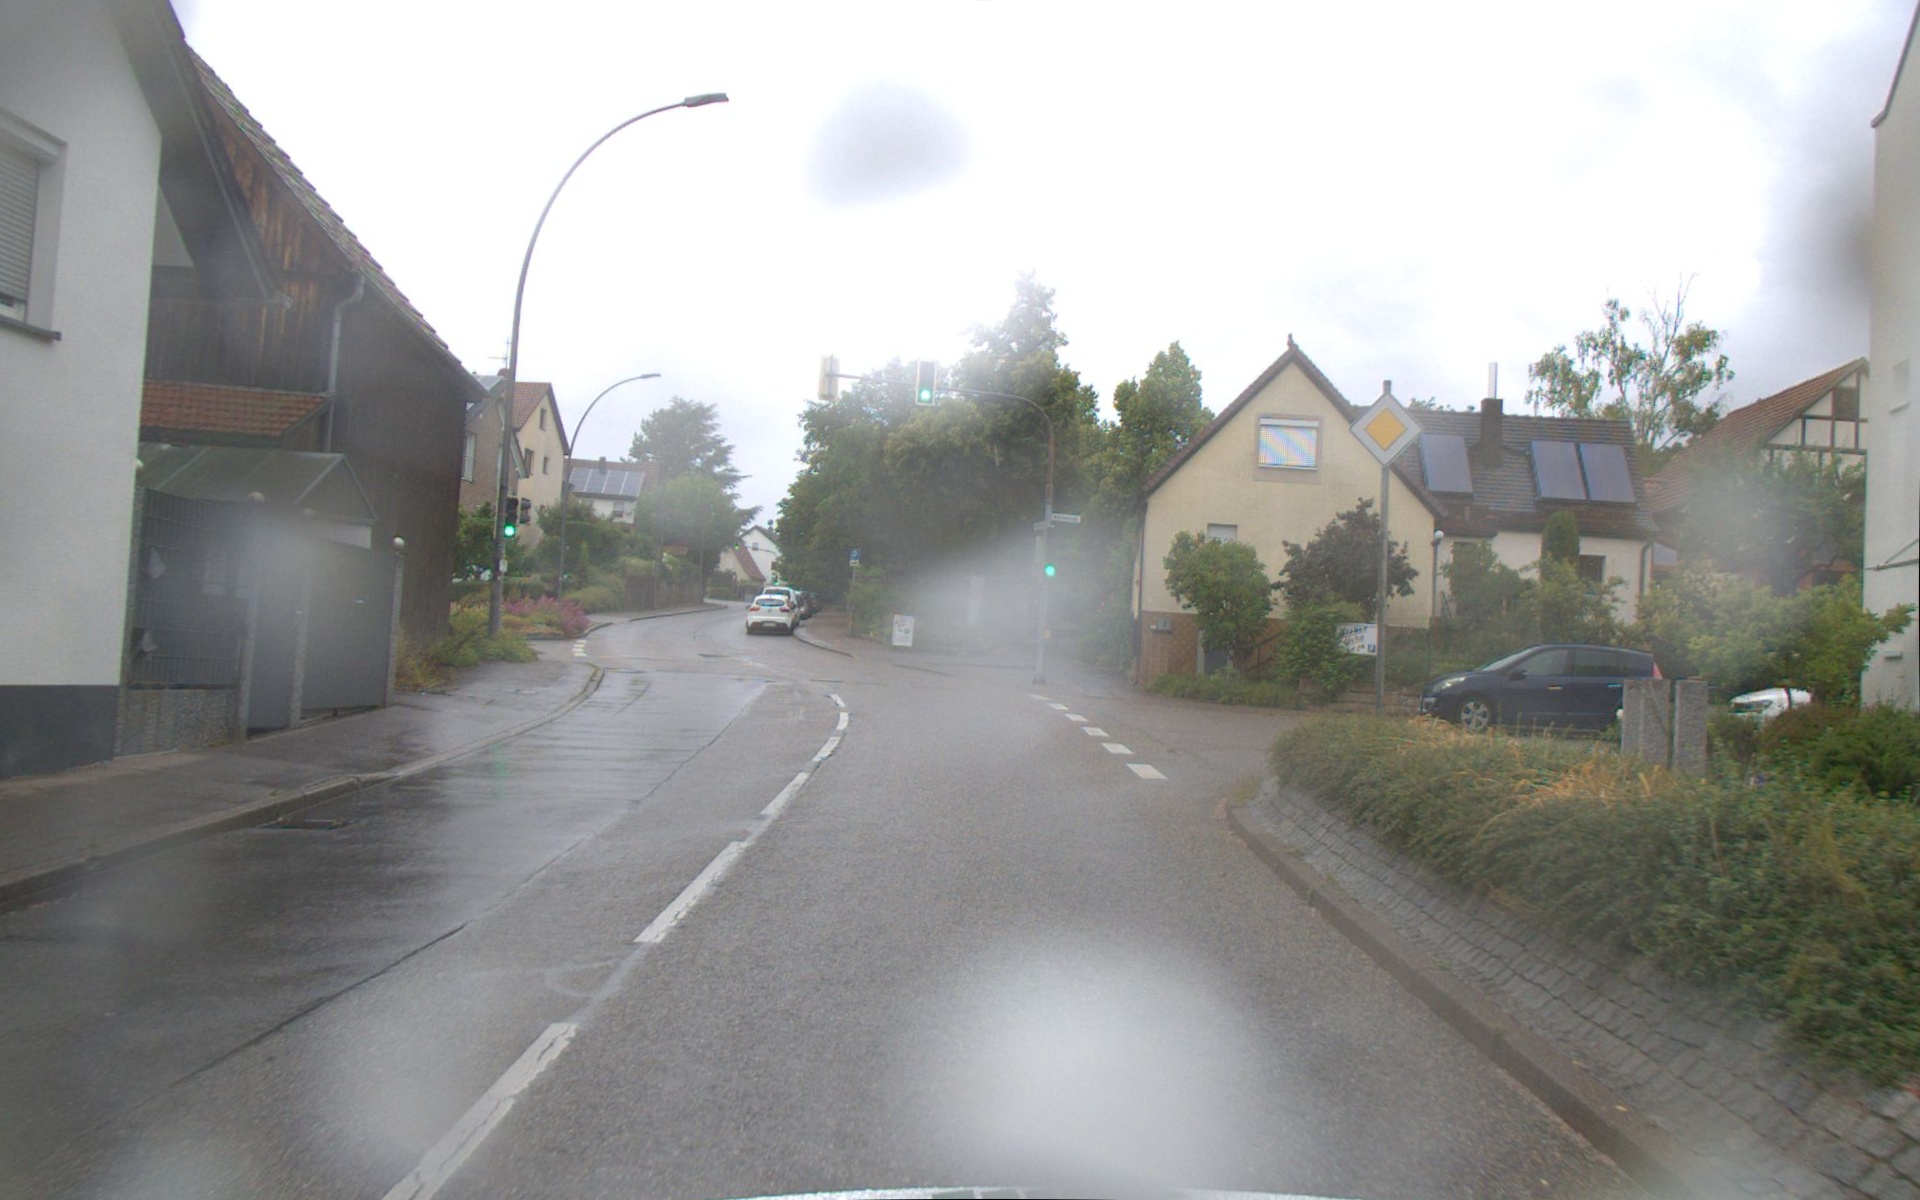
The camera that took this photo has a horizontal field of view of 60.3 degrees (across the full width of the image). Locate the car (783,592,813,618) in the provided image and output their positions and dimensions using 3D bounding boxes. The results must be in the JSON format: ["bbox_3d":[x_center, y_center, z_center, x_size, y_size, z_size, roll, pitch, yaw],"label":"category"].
[{"bbox_3d":[-10.135,0.320,103.227,1.731,1.472,4.690,3,-1,-6],"label":"car"}]

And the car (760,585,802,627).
[{"bbox_3d":[-8.141,0.264,75.423,1.605,1.771,4.133,3,0,-3],"label":"car"}]

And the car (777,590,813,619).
[{"bbox_3d":[-9.658,0.268,97.041,1.778,1.601,3.878,3,-1,-2],"label":"car"}]

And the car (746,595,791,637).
[{"bbox_3d":[-7.453,0.600,64.566,1.581,1.506,4.033,3,0,-6],"label":"car"}]

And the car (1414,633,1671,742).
[{"bbox_3d":[10.310,1.535,29.555,4.044,1.613,1.866,3,-1,11],"label":"car"}]

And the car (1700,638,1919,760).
[{"bbox_3d":[15.432,1.730,28.427,4.585,1.835,1.805,3,-1,11],"label":"car"}]

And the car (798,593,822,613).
[{"bbox_3d":[-11.193,0.241,123.358,1.620,1.395,4.176,3,0,-6],"label":"car"}]
